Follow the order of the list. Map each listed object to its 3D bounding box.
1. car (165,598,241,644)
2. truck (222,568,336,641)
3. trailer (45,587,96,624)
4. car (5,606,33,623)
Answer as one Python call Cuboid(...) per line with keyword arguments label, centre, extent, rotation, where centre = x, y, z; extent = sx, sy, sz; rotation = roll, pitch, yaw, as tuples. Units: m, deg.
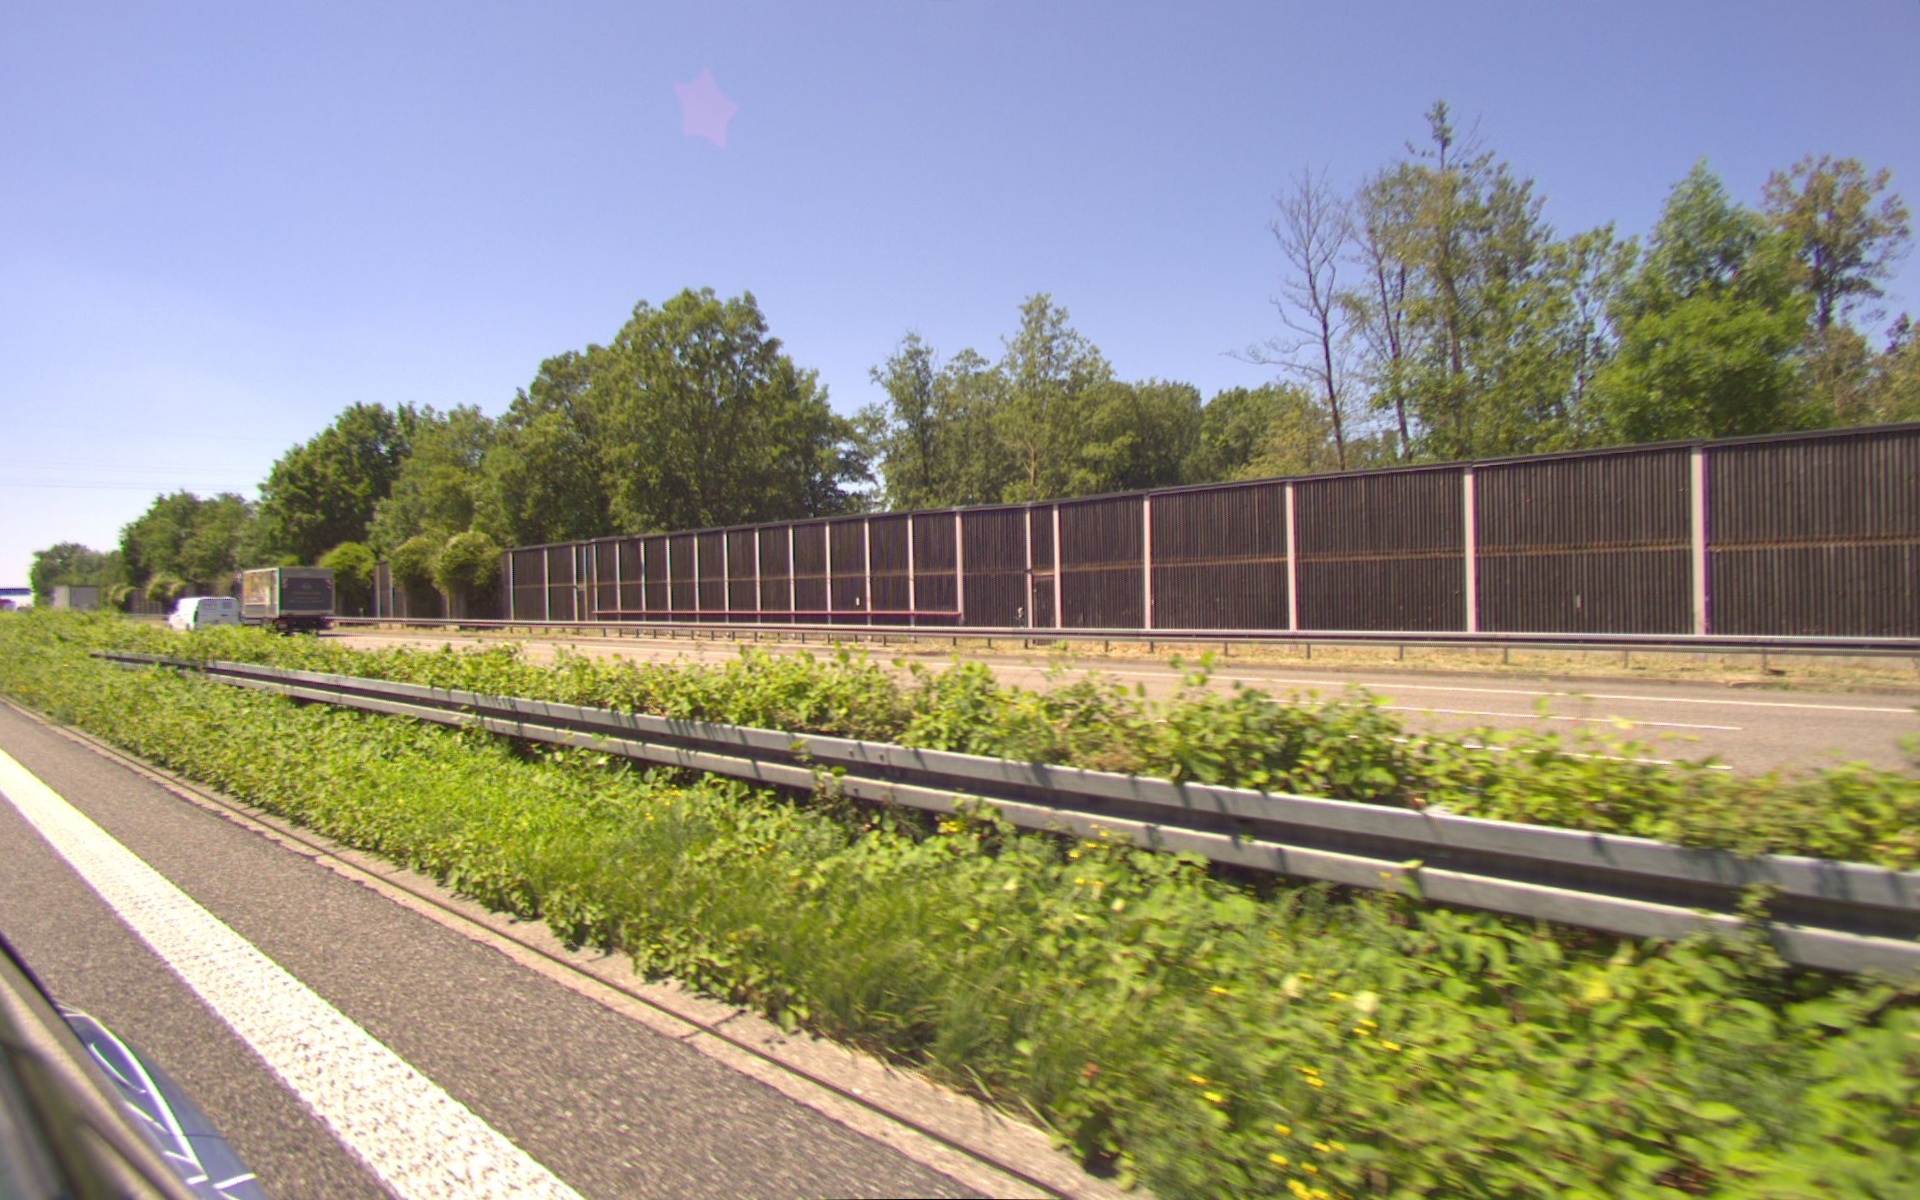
Cuboid(label="car", centre=(-35.787, 0.970, 47.795), extent=(5.101, 2.029, 1.972), rotation=(-1, -1, 42))
Cuboid(label="truck", centre=(-37.341, 0.279, 55.284), extent=(9.949, 3.632, 2.840), rotation=(-1, -1, 42))
Cuboid(label="trailer", centre=(-98.401, 0.683, 111.848), extent=(13.759, 3.939, 2.700), rotation=(-1, -1, 42))
Cuboid(label="car", centre=(-102.218, 1.578, 109.938), extent=(4.816, 1.834, 1.848), rotation=(-1, -1, 42))
